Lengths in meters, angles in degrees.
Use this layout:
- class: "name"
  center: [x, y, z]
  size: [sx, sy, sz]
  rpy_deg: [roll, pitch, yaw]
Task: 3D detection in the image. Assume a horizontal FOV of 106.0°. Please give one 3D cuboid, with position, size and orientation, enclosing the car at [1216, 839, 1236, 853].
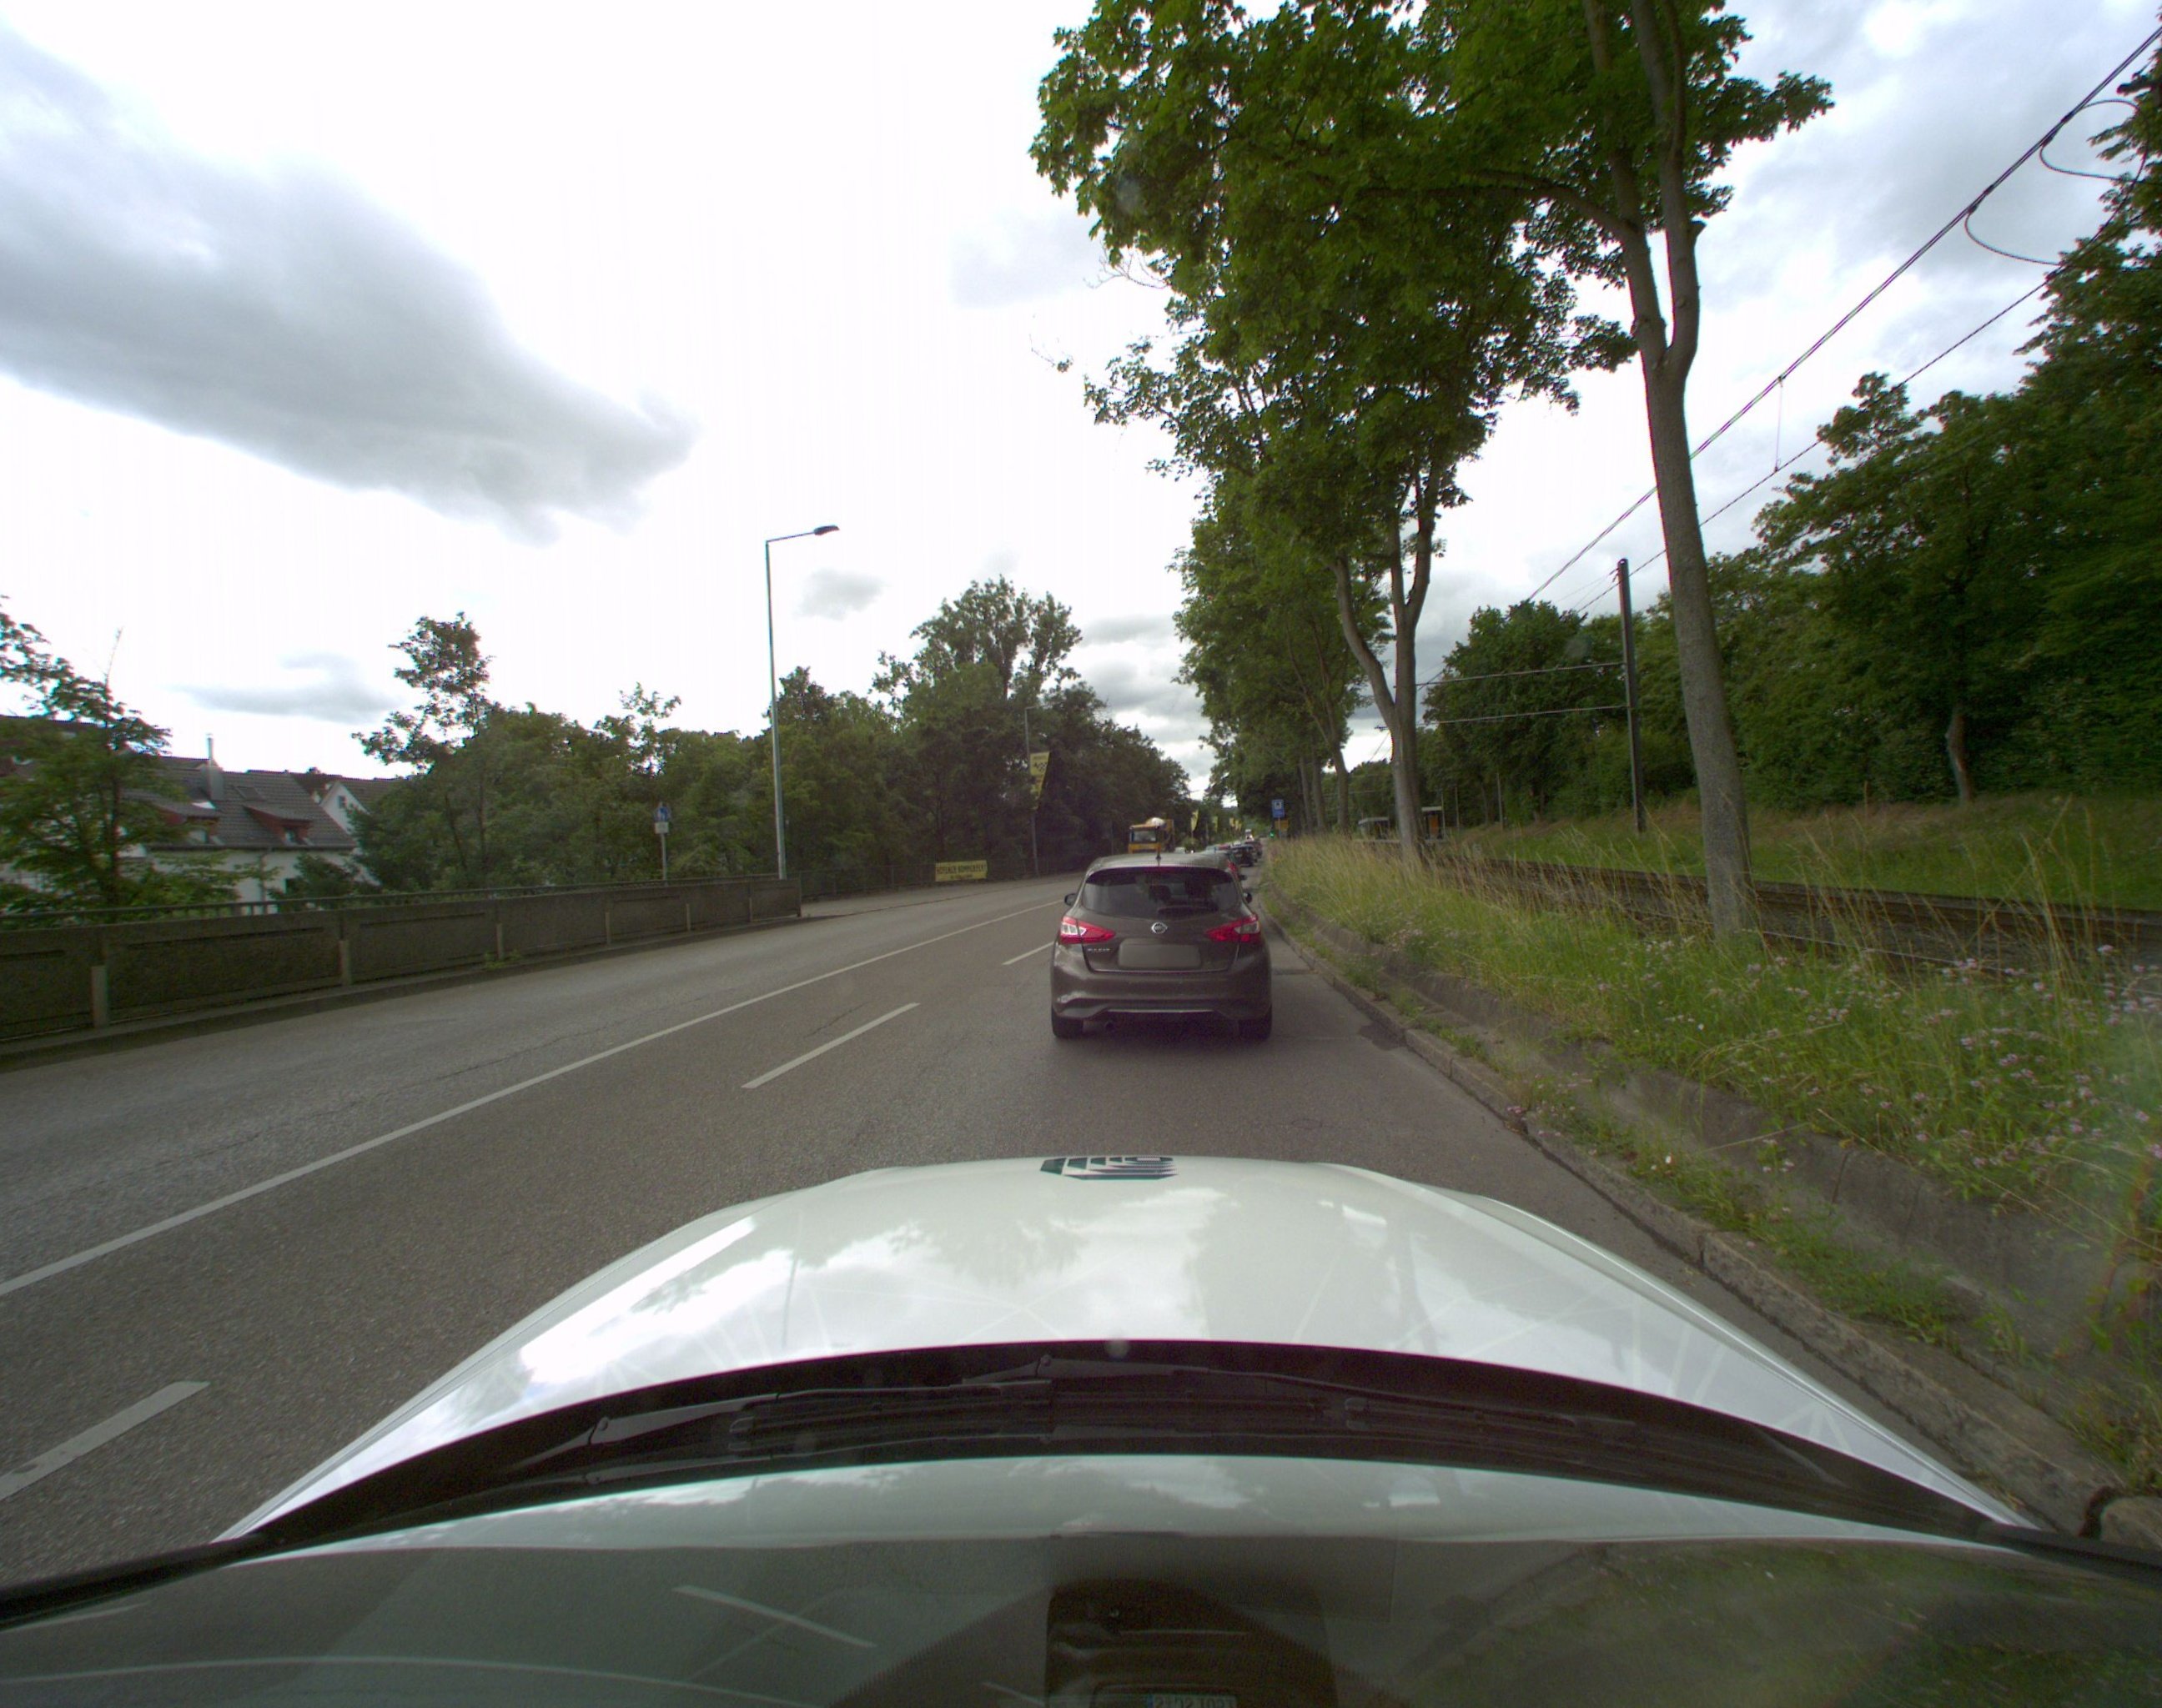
- class: "car"
  center: [16.658, -0.866, 93.402]
  size: [1.838, 1.486, 4.437]
  rpy_deg: [-3, -1, 14]

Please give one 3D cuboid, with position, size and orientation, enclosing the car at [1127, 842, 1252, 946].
- class: "car"
  center: [1.908, 0.664, 14.763]
  size: [1.883, 1.574, 4.006]
  rpy_deg: [-2, -1, 6]

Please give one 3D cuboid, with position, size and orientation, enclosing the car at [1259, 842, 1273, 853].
- class: "car"
  center: [26.757, -0.977, 117.976]
  size: [1.877, 1.445, 3.821]
  rpy_deg: [-2, 0, 13]

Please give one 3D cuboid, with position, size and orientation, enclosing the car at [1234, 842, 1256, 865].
- class: "car"
  center: [13.909, -0.014, 68.877]
  size: [1.707, 1.693, 4.013]
  rpy_deg: [-3, -2, 12]

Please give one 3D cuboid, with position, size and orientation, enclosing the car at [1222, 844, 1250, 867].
- class: "car"
  center: [10.855, 0.096, 56.911]
  size: [1.792, 1.540, 4.013]
  rpy_deg: [-1, -1, 12]

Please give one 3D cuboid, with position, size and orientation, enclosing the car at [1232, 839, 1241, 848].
- class: "car"
  center: [35.759, -2.394, 187.243]
  size: [1.707, 1.693, 3.738]
  rpy_deg: [-3, -2, 12]

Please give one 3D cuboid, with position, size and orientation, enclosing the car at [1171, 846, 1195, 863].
- class: "car"
  center: [9.211, 0.027, 73.241]
  size: [1.755, 1.479, 4.014]
  rpy_deg: [-2, 0, 12]

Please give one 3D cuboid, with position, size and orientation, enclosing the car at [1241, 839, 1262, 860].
- class: "car"
  center: [17.808, -0.466, 85.017]
  size: [1.877, 2.013, 4.015]
  rpy_deg: [-2, 0, 13]

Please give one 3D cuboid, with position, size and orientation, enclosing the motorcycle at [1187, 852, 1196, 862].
- class: "motorcycle"
  center: [11.928, 0.279, 87.639]
  size: [0.739, 1.033, 1.895]
  rpy_deg: [-2, 0, 14]

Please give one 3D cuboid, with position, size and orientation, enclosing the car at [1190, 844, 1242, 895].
- class: "car"
  center: [4.642, 0.501, 28.110]
  size: [1.568, 1.538, 4.010]
  rpy_deg: [-3, -1, 9]

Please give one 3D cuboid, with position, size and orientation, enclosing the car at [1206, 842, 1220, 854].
- class: "car"
  center: [18.594, -0.812, 114.850]
  size: [1.709, 1.442, 4.013]
  rpy_deg: [-3, -2, 12]

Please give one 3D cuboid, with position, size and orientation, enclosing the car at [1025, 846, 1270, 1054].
- class: "car"
  center: [0.729, 0.733, 7.957]
  size: [1.765, 1.494, 4.008]
  rpy_deg: [-1, -1, 7]

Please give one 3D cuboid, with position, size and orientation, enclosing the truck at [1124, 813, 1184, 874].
- class: "truck"
  center: [5.459, -0.739, 58.978]
  size: [2.635, 3.938, 10.150]
  rpy_deg: [-2, 0, 14]

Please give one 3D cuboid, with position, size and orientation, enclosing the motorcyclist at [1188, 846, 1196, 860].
- class: "motorcyclist"
  center: [11.930, -0.131, 87.639]
  size: [0.739, 1.539, 0.794]
  rpy_deg: [-2, 0, 14]
